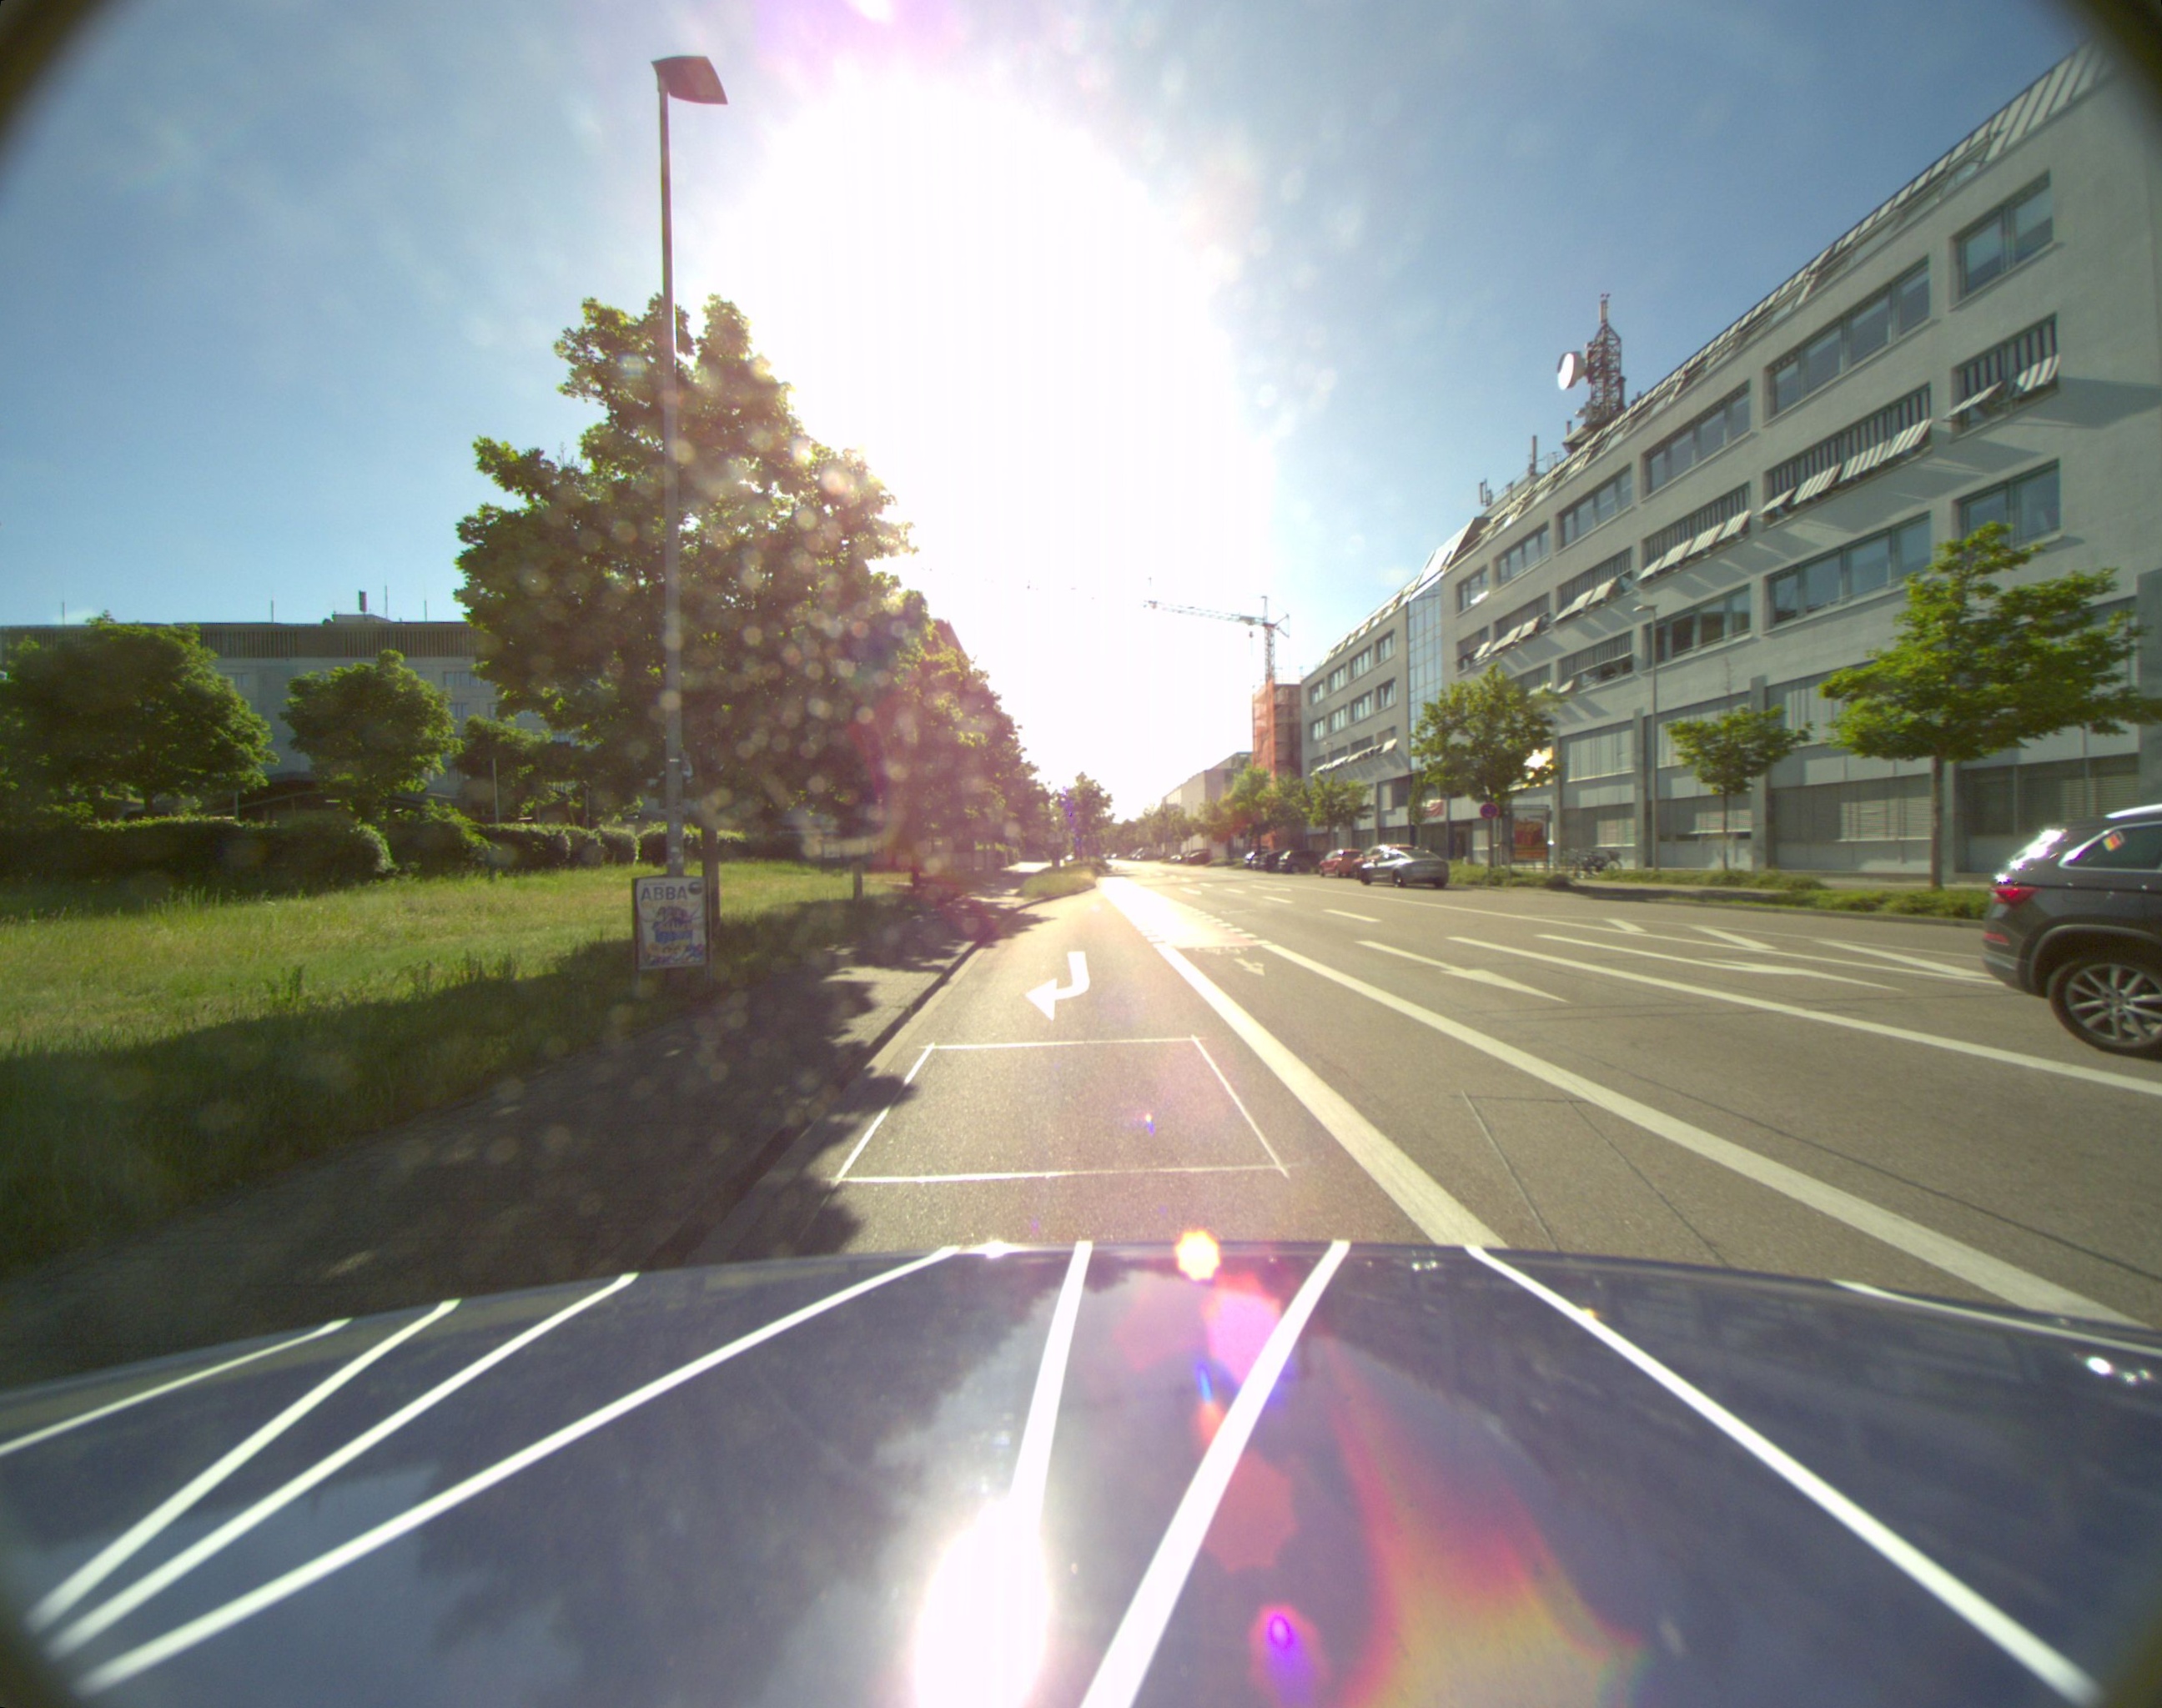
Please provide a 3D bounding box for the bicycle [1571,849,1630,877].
[{"bbox_3d":[20.166,0.352,29.535,1.792,1.063,0.622,0,1,7],"label":"bicycle"}]

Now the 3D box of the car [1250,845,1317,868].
[{"bbox_3d":[14.822,0.183,55.677,4.397,1.424,1.693,-3,1,-3],"label":"car"}]

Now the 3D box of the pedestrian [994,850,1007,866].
[{"bbox_3d":[-6.012,0.285,56.633,0.847,1.210,0.728,0,1,-13],"label":"pedestrian"}]

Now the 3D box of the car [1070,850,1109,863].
[{"bbox_3d":[0.967,0.229,86.532,4.413,1.454,1.895,0,1,-1],"label":"car"}]

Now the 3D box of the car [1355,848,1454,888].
[{"bbox_3d":[12.583,0.501,29.879,1.693,1.460,4.545,0,0,-4],"label":"car"}]

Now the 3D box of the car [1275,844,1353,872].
[{"bbox_3d":[14.799,0.243,48.382,4.398,1.529,1.692,-3,1,-5],"label":"car"}]

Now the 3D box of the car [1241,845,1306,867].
[{"bbox_3d":[14.668,0.142,58.005,4.397,1.424,1.693,-3,1,-3],"label":"car"}]

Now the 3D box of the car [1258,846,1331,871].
[{"bbox_3d":[14.406,0.281,51.427,4.397,1.424,1.693,-3,1,-4],"label":"car"}]

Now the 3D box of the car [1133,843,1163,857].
[{"bbox_3d":[12.982,-0.779,147.120,5.583,2.468,2.010,-3,1,1],"label":"car"}]

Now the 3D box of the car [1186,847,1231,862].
[{"bbox_3d":[13.694,0.058,81.921,4.398,1.424,1.976,-3,1,-4],"label":"car"}]

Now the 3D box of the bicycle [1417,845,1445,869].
[{"bbox_3d":[19.949,0.164,43.342,0.710,1.339,2.233,0,1,5],"label":"bicycle"}]

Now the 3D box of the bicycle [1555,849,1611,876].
[{"bbox_3d":[20.011,0.334,30.302,1.770,1.063,0.556,0,1,7],"label":"bicycle"}]

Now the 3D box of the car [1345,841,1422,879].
[{"bbox_3d":[14.216,0.249,35.923,1.693,1.598,4.309,-3,1,-3],"label":"car"}]

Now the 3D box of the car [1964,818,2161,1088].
[{"bbox_3d":[7.506,0.591,3.431,1.758,1.619,4.477,-3,1,-1],"label":"car"}]

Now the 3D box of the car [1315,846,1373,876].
[{"bbox_3d":[14.089,0.356,40.936,1.692,1.423,3.871,-3,1,-1],"label":"car"}]
